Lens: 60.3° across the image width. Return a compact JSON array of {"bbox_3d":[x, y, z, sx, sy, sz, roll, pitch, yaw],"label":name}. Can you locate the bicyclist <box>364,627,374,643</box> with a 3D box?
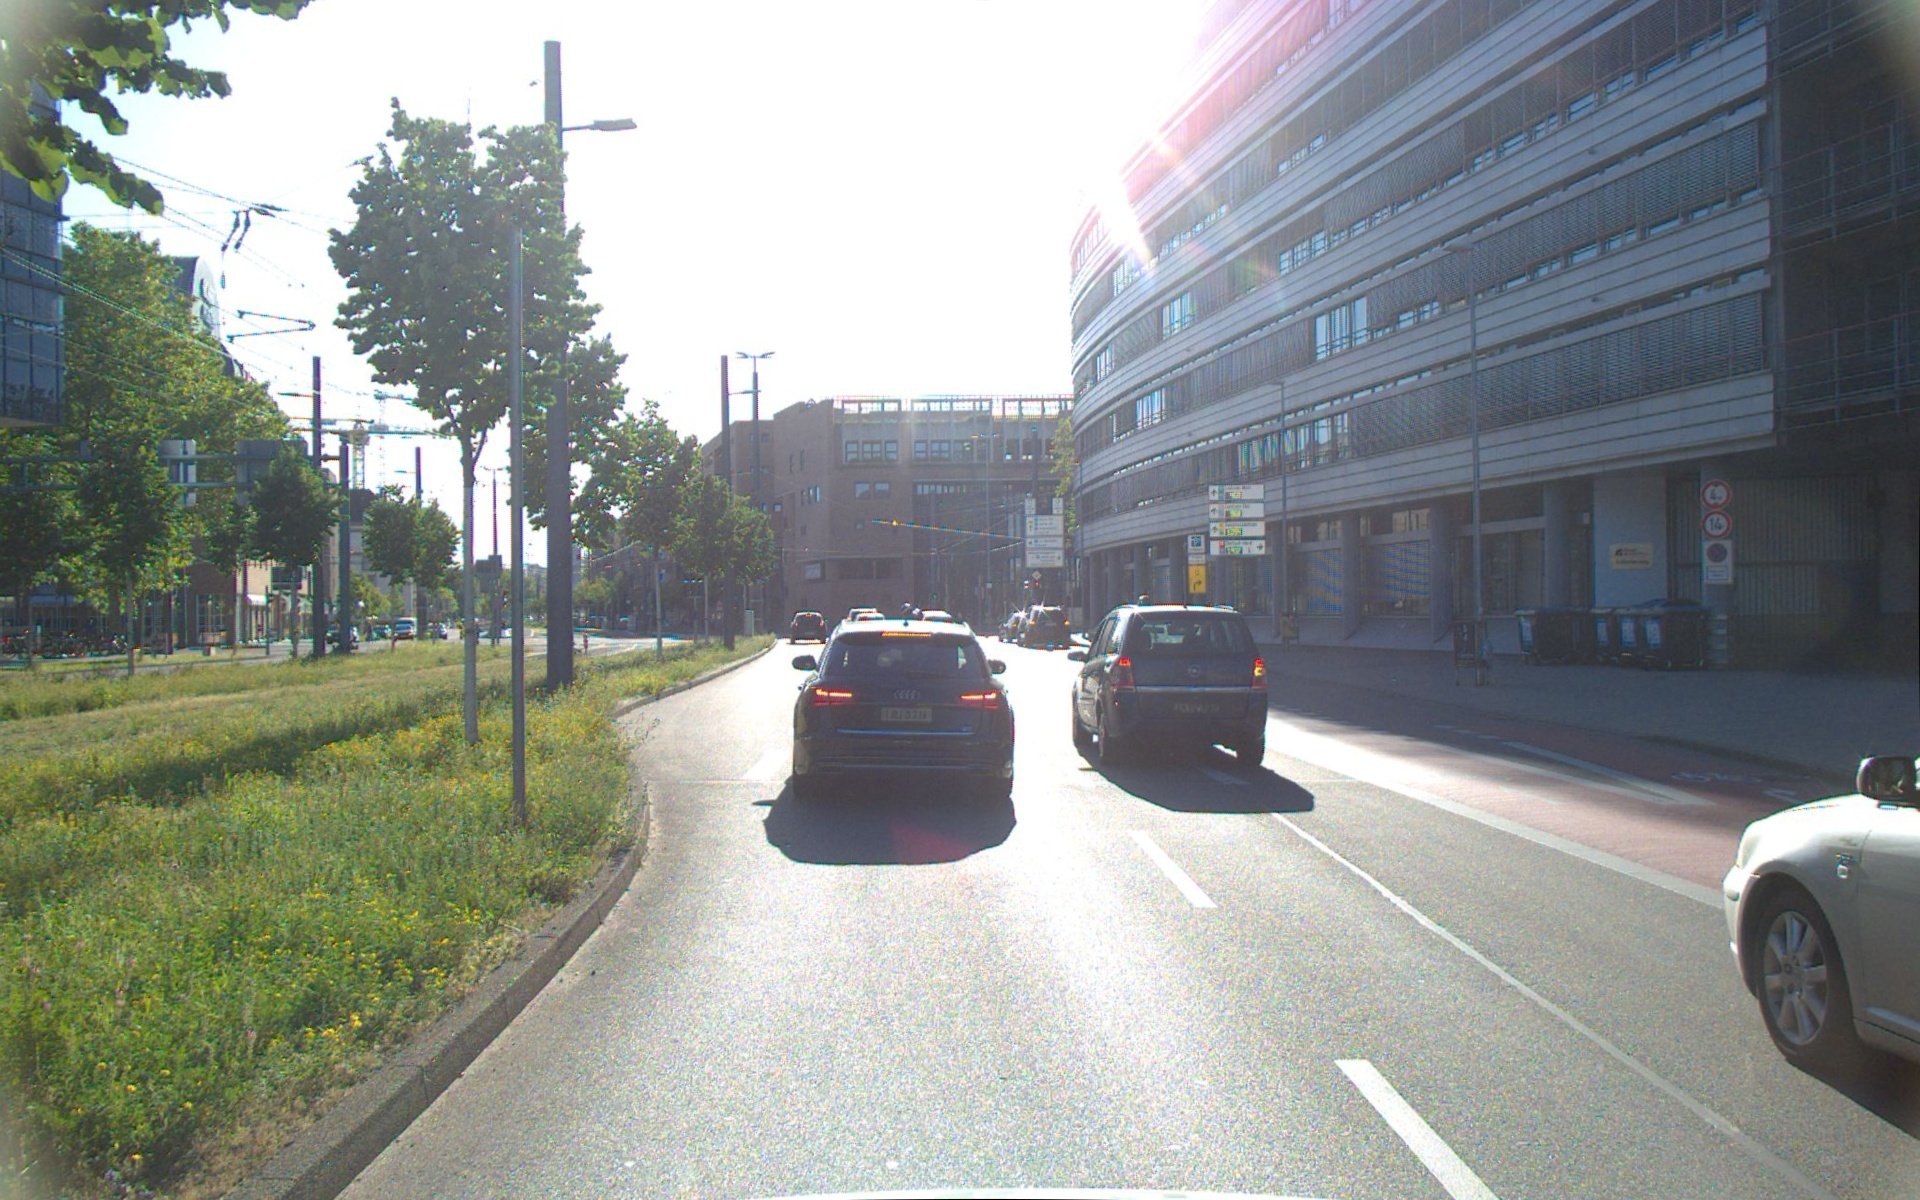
[{"bbox_3d":[-50.372,2.989,141.021,0.745,1.399,0.946,-1,-1,-17],"label":"bicyclist"}]

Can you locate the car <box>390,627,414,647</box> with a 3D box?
[{"bbox_3d":[-49.954,3.314,148.196,1.963,1.624,4.713,-2,0,-18],"label":"car"}]

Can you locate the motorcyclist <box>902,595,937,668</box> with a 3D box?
[{"bbox_3d":[-0.895,0.685,36.381,0.730,1.557,1.020,-1,-1,-1],"label":"motorcyclist"}]

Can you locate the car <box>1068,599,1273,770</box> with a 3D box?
[{"bbox_3d":[2.226,0.851,18.544,1.653,1.657,4.462,-1,-1,-1],"label":"car"}]

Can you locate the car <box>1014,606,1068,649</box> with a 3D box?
[{"bbox_3d":[3.572,1.201,73.667,1.954,1.780,4.326,-1,0,-3],"label":"car"}]

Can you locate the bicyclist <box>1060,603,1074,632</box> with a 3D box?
[{"bbox_3d":[6.193,1.024,95.771,0.669,1.646,0.992,-1,-1,12],"label":"bicyclist"}]

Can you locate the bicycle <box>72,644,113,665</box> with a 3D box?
[{"bbox_3d":[-42.359,2.680,80.799,1.749,0.968,0.535,-1,-1,-32],"label":"bicycle"}]

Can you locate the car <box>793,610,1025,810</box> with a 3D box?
[{"bbox_3d":[-0.510,0.851,14.855,1.775,1.518,4.493,0,-1,-3],"label":"car"}]

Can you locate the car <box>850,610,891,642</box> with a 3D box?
[{"bbox_3d":[-3.998,1.148,73.521,1.703,1.373,3.996,-1,-1,-4],"label":"car"}]

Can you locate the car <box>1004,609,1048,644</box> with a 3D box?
[{"bbox_3d":[3.227,1.290,81.573,1.953,1.680,3.999,-1,0,-1],"label":"car"}]

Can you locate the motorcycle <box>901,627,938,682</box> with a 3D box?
[{"bbox_3d":[-0.908,1.190,36.539,0.760,1.135,1.968,-1,0,-2],"label":"motorcycle"}]

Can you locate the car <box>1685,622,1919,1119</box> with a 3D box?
[{"bbox_3d":[3.717,0.797,4.206,1.715,1.456,4.488,-1,-1,-1],"label":"car"}]

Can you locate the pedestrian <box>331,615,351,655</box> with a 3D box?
[{"bbox_3d":[-32.328,1.821,86.431,0.718,2.049,0.837,0,-1,-1],"label":"pedestrian"}]

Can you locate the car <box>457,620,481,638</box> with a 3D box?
[{"bbox_3d":[-43.936,2.558,147.895,1.721,1.531,3.854,-1,0,-22],"label":"car"}]

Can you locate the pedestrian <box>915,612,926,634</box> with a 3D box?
[{"bbox_3d":[-3.249,1.923,135.978,0.692,1.789,0.561,-1,-1,20],"label":"pedestrian"}]

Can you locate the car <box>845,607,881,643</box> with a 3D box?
[{"bbox_3d":[-4.749,1.208,80.715,1.703,1.680,3.996,-1,-1,-4],"label":"car"}]

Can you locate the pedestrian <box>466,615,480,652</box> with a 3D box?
[{"bbox_3d":[-25.123,1.735,85.318,0.620,1.862,0.661,-1,-1,-12],"label":"pedestrian"}]

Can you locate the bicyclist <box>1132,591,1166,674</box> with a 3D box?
[{"bbox_3d":[4.214,0.712,36.988,0.566,1.822,0.863,-1,-1,-5],"label":"bicyclist"}]

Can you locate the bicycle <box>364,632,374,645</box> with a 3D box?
[{"bbox_3d":[-50.422,3.262,141.072,0.639,1.104,2.913,-1,0,-16],"label":"bicycle"}]

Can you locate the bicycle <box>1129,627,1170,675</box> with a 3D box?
[{"bbox_3d":[4.219,1.121,37.017,0.482,1.015,2.326,-1,0,-4],"label":"bicycle"}]

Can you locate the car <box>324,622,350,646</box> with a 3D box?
[{"bbox_3d":[-54.526,2.954,144.780,1.963,2.049,3.979,-1,0,-18],"label":"car"}]

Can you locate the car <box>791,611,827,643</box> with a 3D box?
[{"bbox_3d":[-7.244,1.287,79.457,1.617,1.458,3.996,-1,-1,-4],"label":"car"}]

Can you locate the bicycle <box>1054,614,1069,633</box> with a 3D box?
[{"bbox_3d":[5.853,1.359,95.450,0.493,1.076,1.703,-3,-1,13],"label":"bicycle"}]

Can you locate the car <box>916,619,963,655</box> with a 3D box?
[{"bbox_3d":[-0.909,1.543,70.500,1.772,1.483,3.996,0,0,-4],"label":"car"}]
